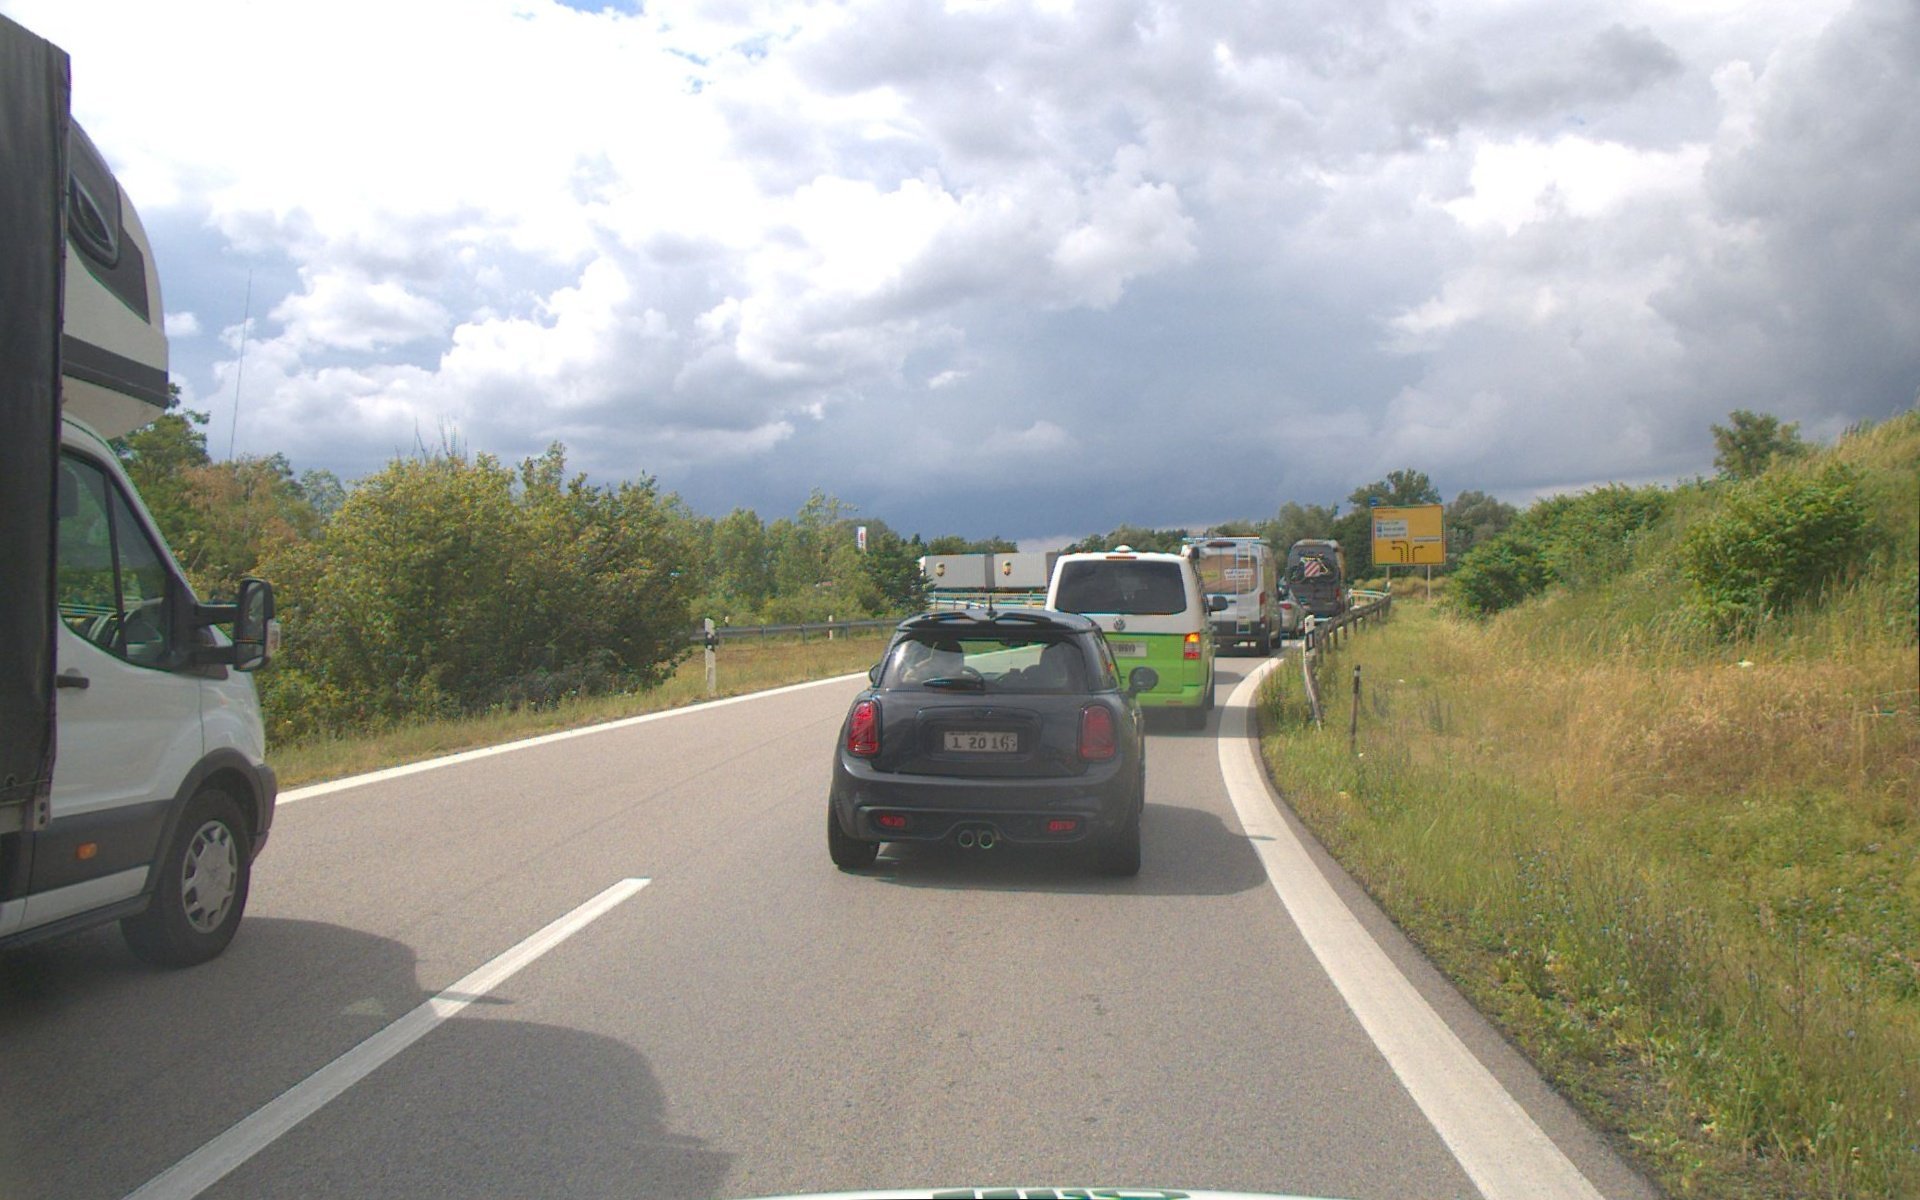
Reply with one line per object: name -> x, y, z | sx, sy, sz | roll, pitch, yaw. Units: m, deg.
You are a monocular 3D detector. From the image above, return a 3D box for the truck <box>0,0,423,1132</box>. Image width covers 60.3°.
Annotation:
truck -> -3.891, -0.163, 4.140 | 2.507, 3.223, 7.468 | 1, 0, 1

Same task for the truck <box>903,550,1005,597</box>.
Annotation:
truck -> -0.600, -2.371, 148.752 | 9.852, 4.046, 2.828 | 1, -1, 42

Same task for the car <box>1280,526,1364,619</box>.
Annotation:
car -> 12.982, -0.895, 58.971 | 2.262, 3.122, 6.665 | 1, 0, 18

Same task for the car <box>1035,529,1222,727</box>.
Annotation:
car -> 2.106, 0.291, 19.589 | 1.870, 2.081, 4.184 | 0, 0, 10

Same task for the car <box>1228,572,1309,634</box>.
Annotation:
car -> 8.819, 0.090, 47.024 | 1.951, 1.671, 3.931 | 1, 0, 15

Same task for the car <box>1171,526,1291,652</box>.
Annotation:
car -> 6.328, -0.214, 38.085 | 2.165, 2.668, 5.538 | 1, 0, 15

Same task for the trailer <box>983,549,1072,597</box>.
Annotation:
trailer -> 5.718, -2.283, 141.872 | 3.011, 3.966, 8.664 | 1, 0, -35

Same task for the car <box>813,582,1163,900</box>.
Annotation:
car -> 0.345, 0.690, 10.194 | 1.761, 1.573, 3.741 | 0, 0, 6
